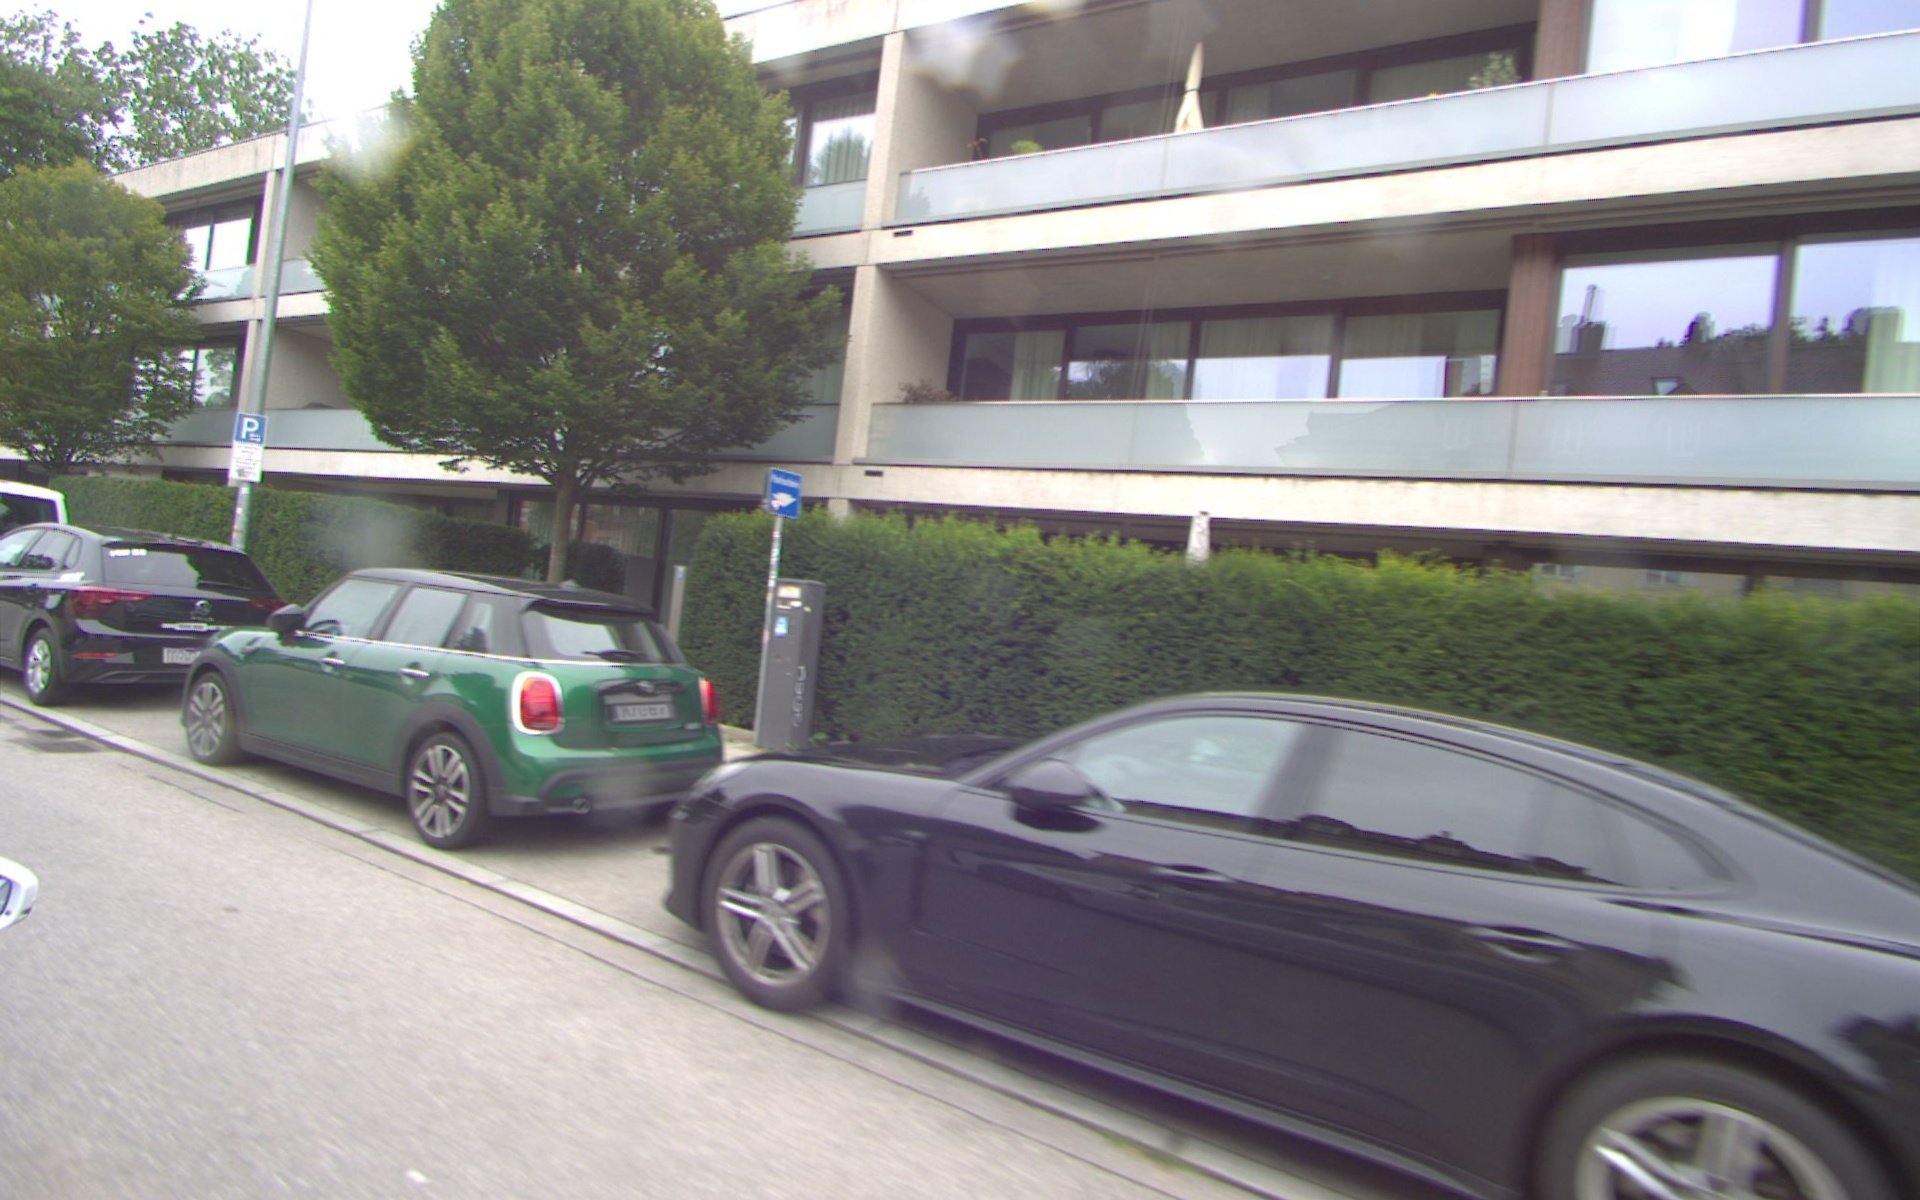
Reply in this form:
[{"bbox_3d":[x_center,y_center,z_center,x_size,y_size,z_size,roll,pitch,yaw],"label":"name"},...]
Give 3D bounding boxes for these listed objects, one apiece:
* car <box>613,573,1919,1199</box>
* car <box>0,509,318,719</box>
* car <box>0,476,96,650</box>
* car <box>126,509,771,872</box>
[{"bbox_3d":[1.028,0.942,3.799,5.119,1.525,1.283,7,1,30],"label":"car"},{"bbox_3d":[-8.027,0.015,9.249,4.170,1.481,1.751,6,-1,30],"label":"car"},{"bbox_3d":[-12.856,-0.679,12.361,4.816,1.881,1.827,6,-3,31],"label":"car"},{"bbox_3d":[-3.477,0.402,6.654,4.133,1.548,1.729,7,0,30],"label":"car"}]
